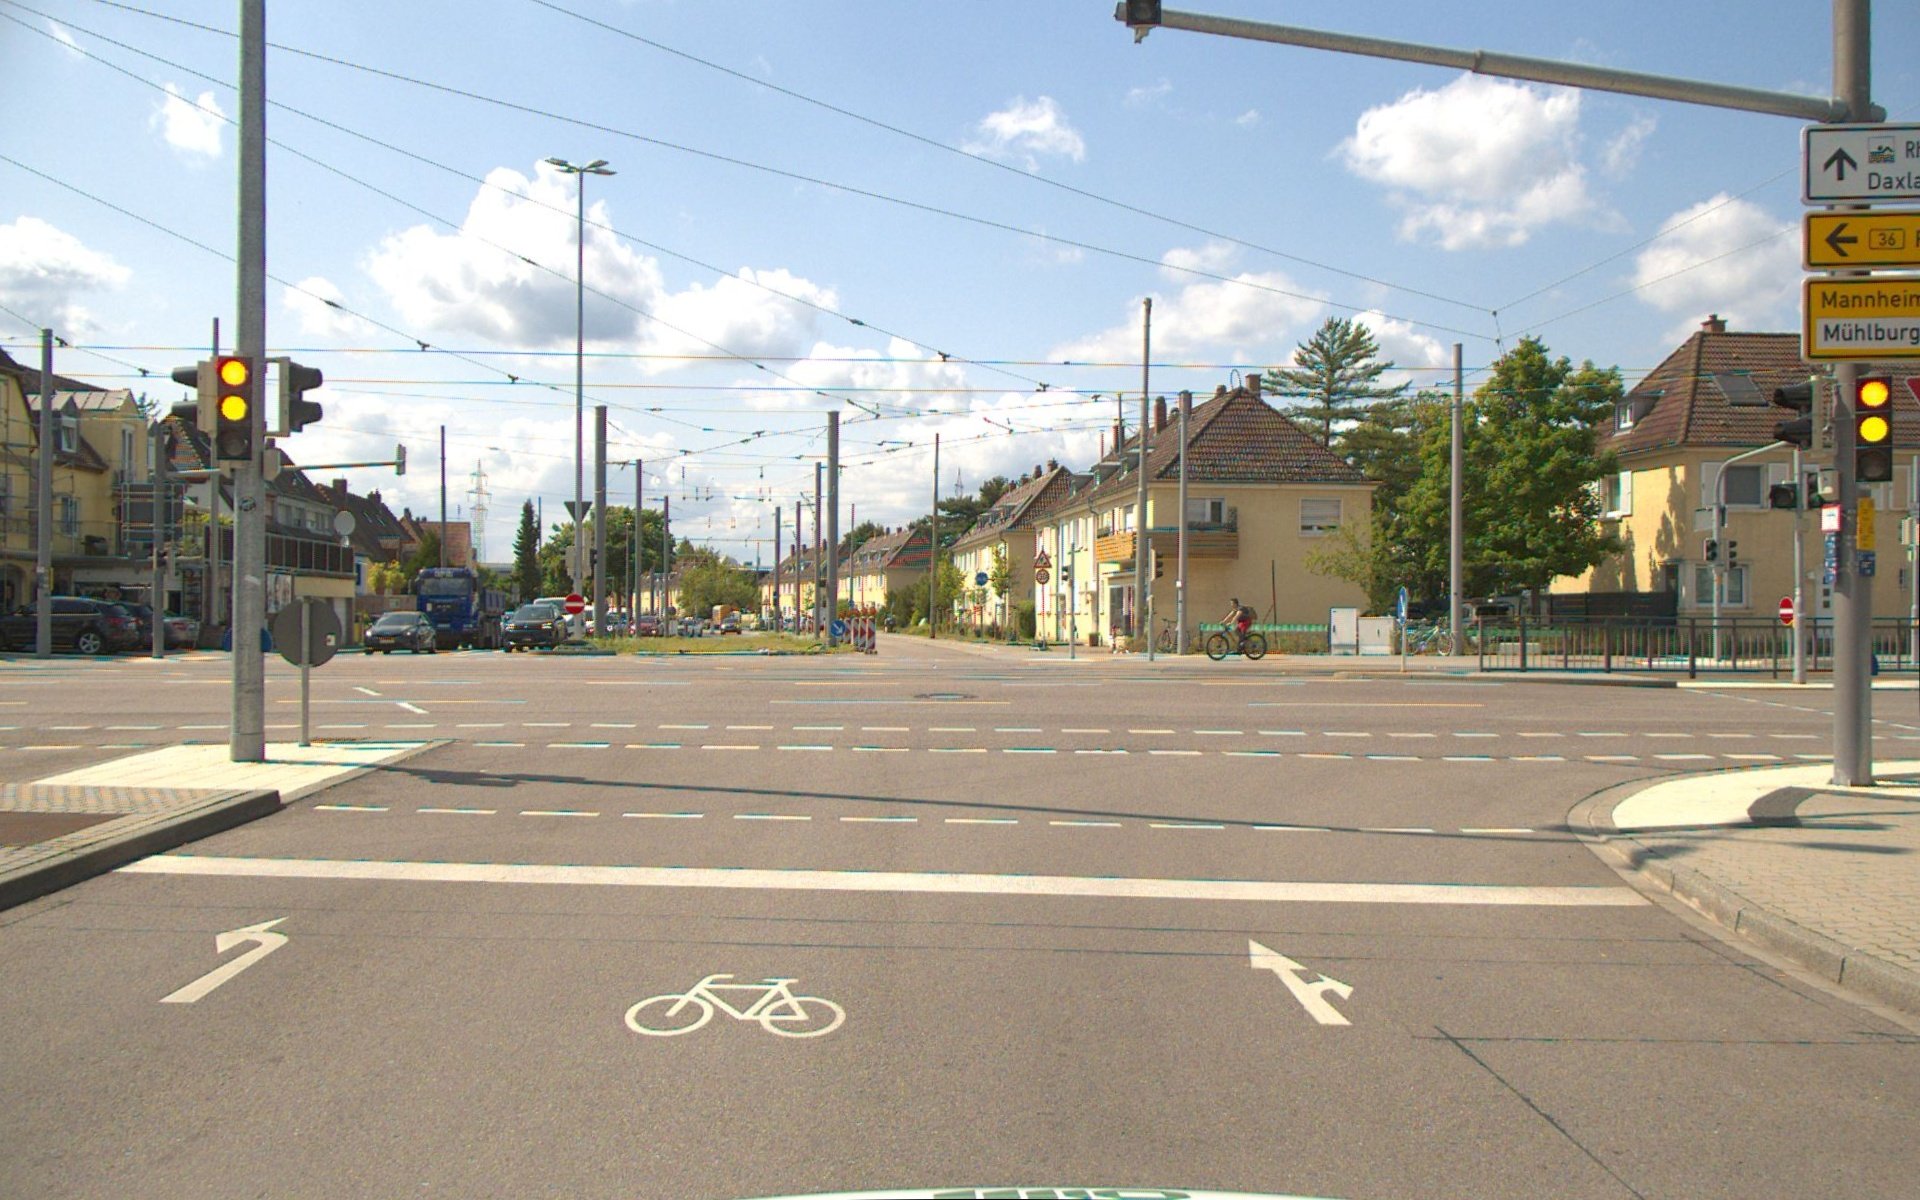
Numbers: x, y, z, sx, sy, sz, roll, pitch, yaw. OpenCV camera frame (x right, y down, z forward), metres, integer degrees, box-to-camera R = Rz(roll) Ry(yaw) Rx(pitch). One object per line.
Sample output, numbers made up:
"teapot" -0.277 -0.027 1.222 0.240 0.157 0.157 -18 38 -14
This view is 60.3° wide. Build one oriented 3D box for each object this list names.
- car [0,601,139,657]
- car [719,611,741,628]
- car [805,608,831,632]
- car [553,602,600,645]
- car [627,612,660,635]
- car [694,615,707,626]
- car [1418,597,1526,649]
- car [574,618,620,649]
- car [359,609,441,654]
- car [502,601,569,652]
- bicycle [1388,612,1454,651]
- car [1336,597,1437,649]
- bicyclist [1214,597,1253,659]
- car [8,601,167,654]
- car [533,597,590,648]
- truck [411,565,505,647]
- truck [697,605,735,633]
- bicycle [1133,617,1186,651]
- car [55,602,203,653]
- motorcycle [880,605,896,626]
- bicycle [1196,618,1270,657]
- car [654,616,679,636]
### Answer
"car" -26.822 0.858 49.190 4.058 1.519 1.177 2 -1 -9
"car" -22.057 1.846 158.770 1.783 1.579 3.997 0 0 -4
"car" -13.461 1.880 157.031 2.028 2.187 4.866 0 -1 -10
"car" -17.025 1.038 73.560 1.700 1.813 4.396 0 -1 -9
"car" -21.072 1.568 110.245 1.808 1.520 4.848 0 -1 -7
"car" -35.934 2.833 228.880 1.241 1.451 2.645 0 -1 -24
"car" 17.052 0.795 55.271 1.789 1.649 3.990 0 -2 -10
"car" -17.631 1.610 80.490 1.879 1.444 3.992 0 -1 -9
"car" -19.498 1.089 57.756 1.792 1.513 4.328 0 -1 -6
"car" -15.177 0.900 59.303 1.752 1.751 4.434 0 0 -7
"bicycle" 13.592 0.920 48.776 1.773 1.124 0.699 0 -1 39
"car" 14.291 0.795 55.593 1.789 1.649 3.990 0 -2 -10
"bicyclist" 7.926 0.810 47.934 0.940 1.806 0.718 0 -1 -11
"car" -27.303 0.858 51.858 4.058 1.519 1.504 2 -1 -9
"car" -15.796 0.900 65.710 1.780 1.955 4.738 0 -1 -9
"truck" -20.930 0.305 69.342 2.717 3.244 7.567 0 -1 -9
"truck" -32.040 2.539 216.993 2.606 3.555 9.366 0 -1 -24
"bicycle" 6.712 1.142 55.793 0.586 1.116 2.255 0 -1 -28
"car" -27.375 0.904 54.569 4.058 1.519 1.432 2 -1 -9
"motorcycle" -5.750 1.232 131.828 1.046 1.664 2.079 0 -1 -9
"bicycle" 7.862 1.080 47.724 1.991 1.121 0.713 0 -1 -12
"car" -23.769 2.098 134.058 1.808 1.589 4.180 0 -1 -7
